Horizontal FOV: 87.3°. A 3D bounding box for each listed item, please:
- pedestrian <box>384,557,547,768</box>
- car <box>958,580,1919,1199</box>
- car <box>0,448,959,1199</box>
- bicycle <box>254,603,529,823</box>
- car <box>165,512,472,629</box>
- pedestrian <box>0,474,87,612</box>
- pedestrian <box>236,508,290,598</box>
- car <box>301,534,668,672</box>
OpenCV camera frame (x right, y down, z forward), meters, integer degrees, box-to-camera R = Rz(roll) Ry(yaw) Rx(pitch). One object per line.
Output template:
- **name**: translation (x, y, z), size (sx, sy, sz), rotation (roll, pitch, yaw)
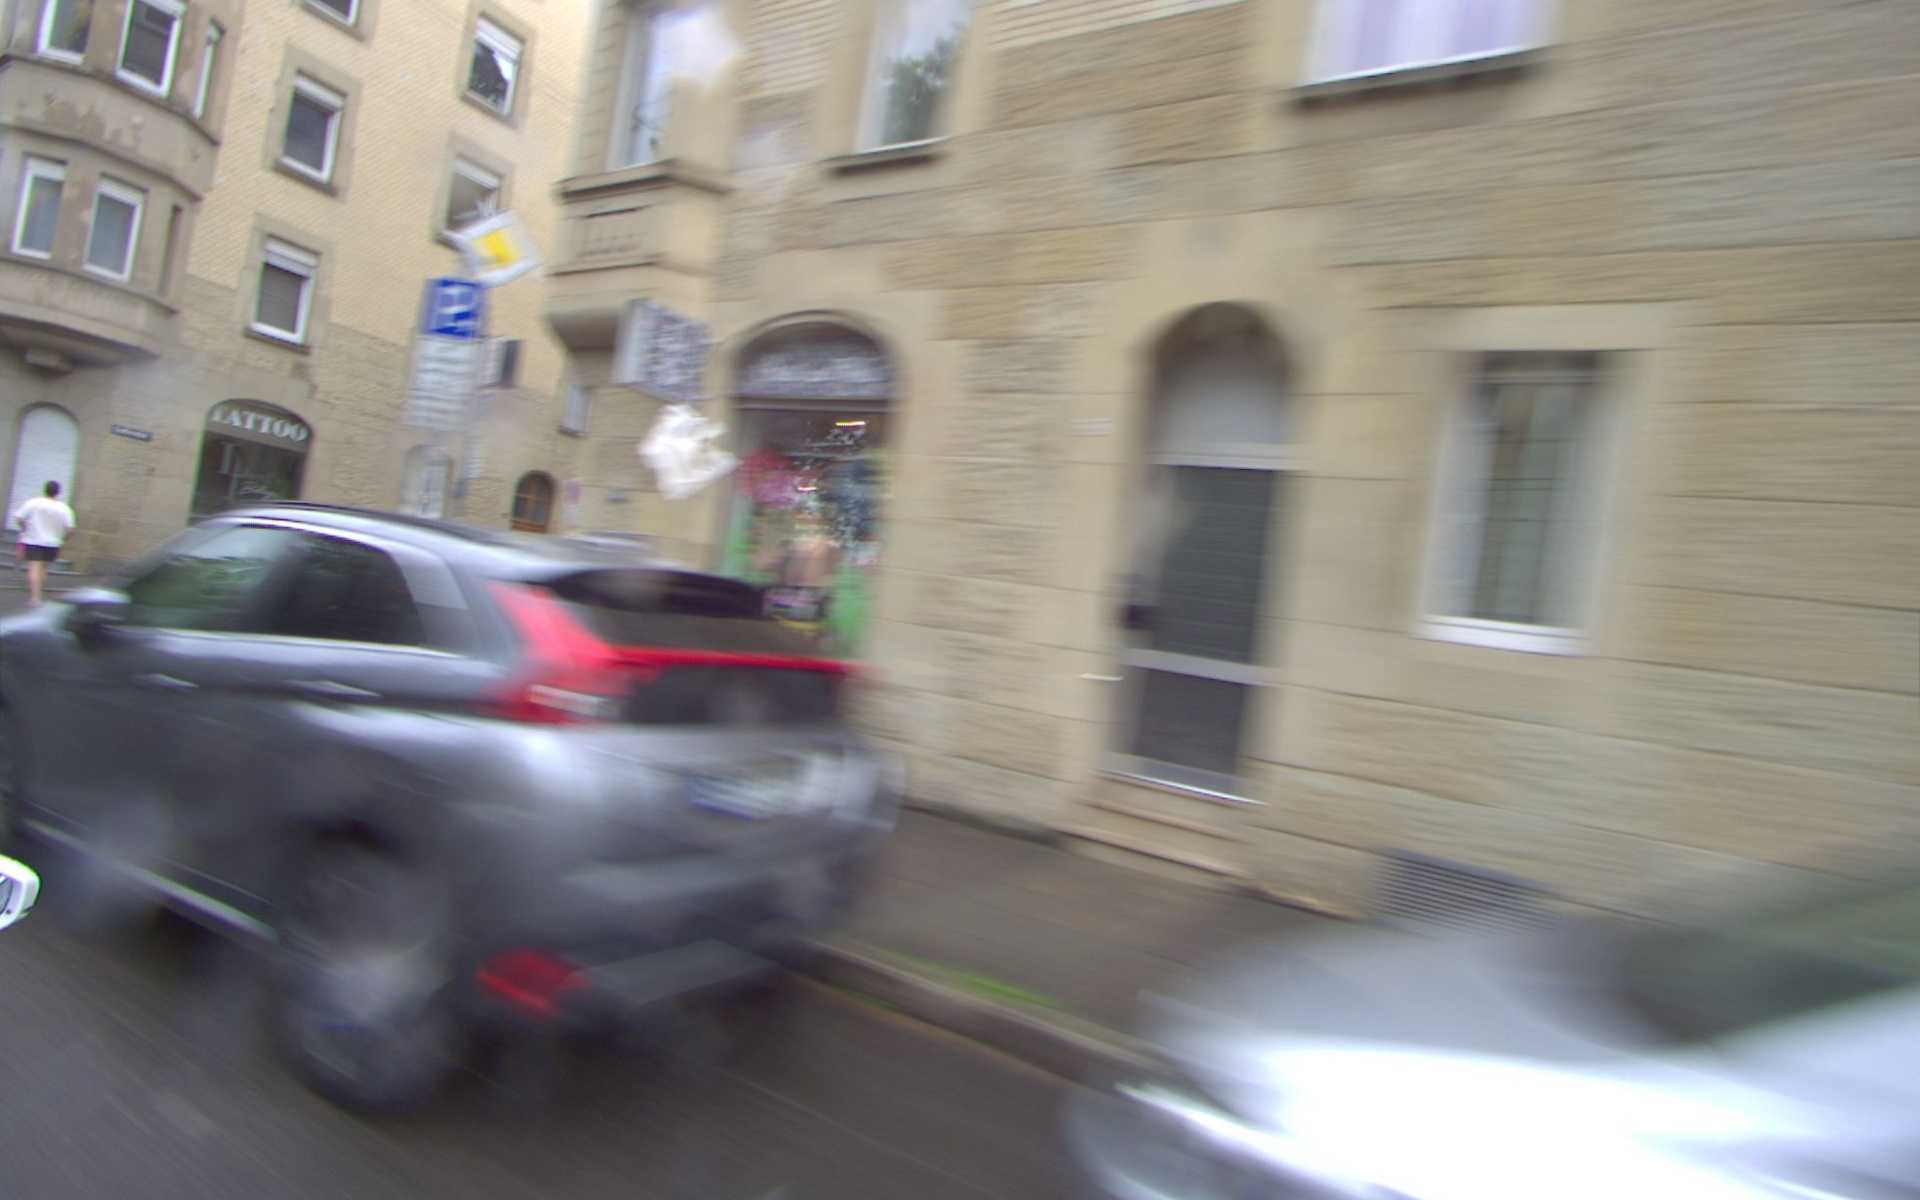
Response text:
- **pedestrian**: translation (-3.548, 0.447, 7.240), size (0.632, 1.385, 0.671), rotation (6, -1, 31)
- **car**: translation (2.122, 1.006, 1.390), size (3.934, 1.546, 1.697), rotation (6, -2, 32)
- **car**: translation (-2.372, 0.458, 4.142), size (4.258, 1.687, 1.771), rotation (6, -3, 29)
- **bicycle**: translation (-3.944, 0.715, 6.911), size (2.093, 1.148, 0.622), rotation (6, -2, 32)
- **car**: translation (-11.756, -0.470, 18.738), size (1.861, 1.549, 4.342), rotation (6, -2, 33)
- **pedestrian**: translation (-12.870, -0.792, 14.094), size (0.746, 1.809, 0.694), rotation (7, 1, 35)
- **pedestrian**: translation (-14.002, -0.947, 20.209), size (0.617, 1.708, 0.548), rotation (6, -1, 36)
- **car**: translation (-6.733, 0.133, 14.748), size (1.834, 1.502, 4.454), rotation (7, -1, 34)
